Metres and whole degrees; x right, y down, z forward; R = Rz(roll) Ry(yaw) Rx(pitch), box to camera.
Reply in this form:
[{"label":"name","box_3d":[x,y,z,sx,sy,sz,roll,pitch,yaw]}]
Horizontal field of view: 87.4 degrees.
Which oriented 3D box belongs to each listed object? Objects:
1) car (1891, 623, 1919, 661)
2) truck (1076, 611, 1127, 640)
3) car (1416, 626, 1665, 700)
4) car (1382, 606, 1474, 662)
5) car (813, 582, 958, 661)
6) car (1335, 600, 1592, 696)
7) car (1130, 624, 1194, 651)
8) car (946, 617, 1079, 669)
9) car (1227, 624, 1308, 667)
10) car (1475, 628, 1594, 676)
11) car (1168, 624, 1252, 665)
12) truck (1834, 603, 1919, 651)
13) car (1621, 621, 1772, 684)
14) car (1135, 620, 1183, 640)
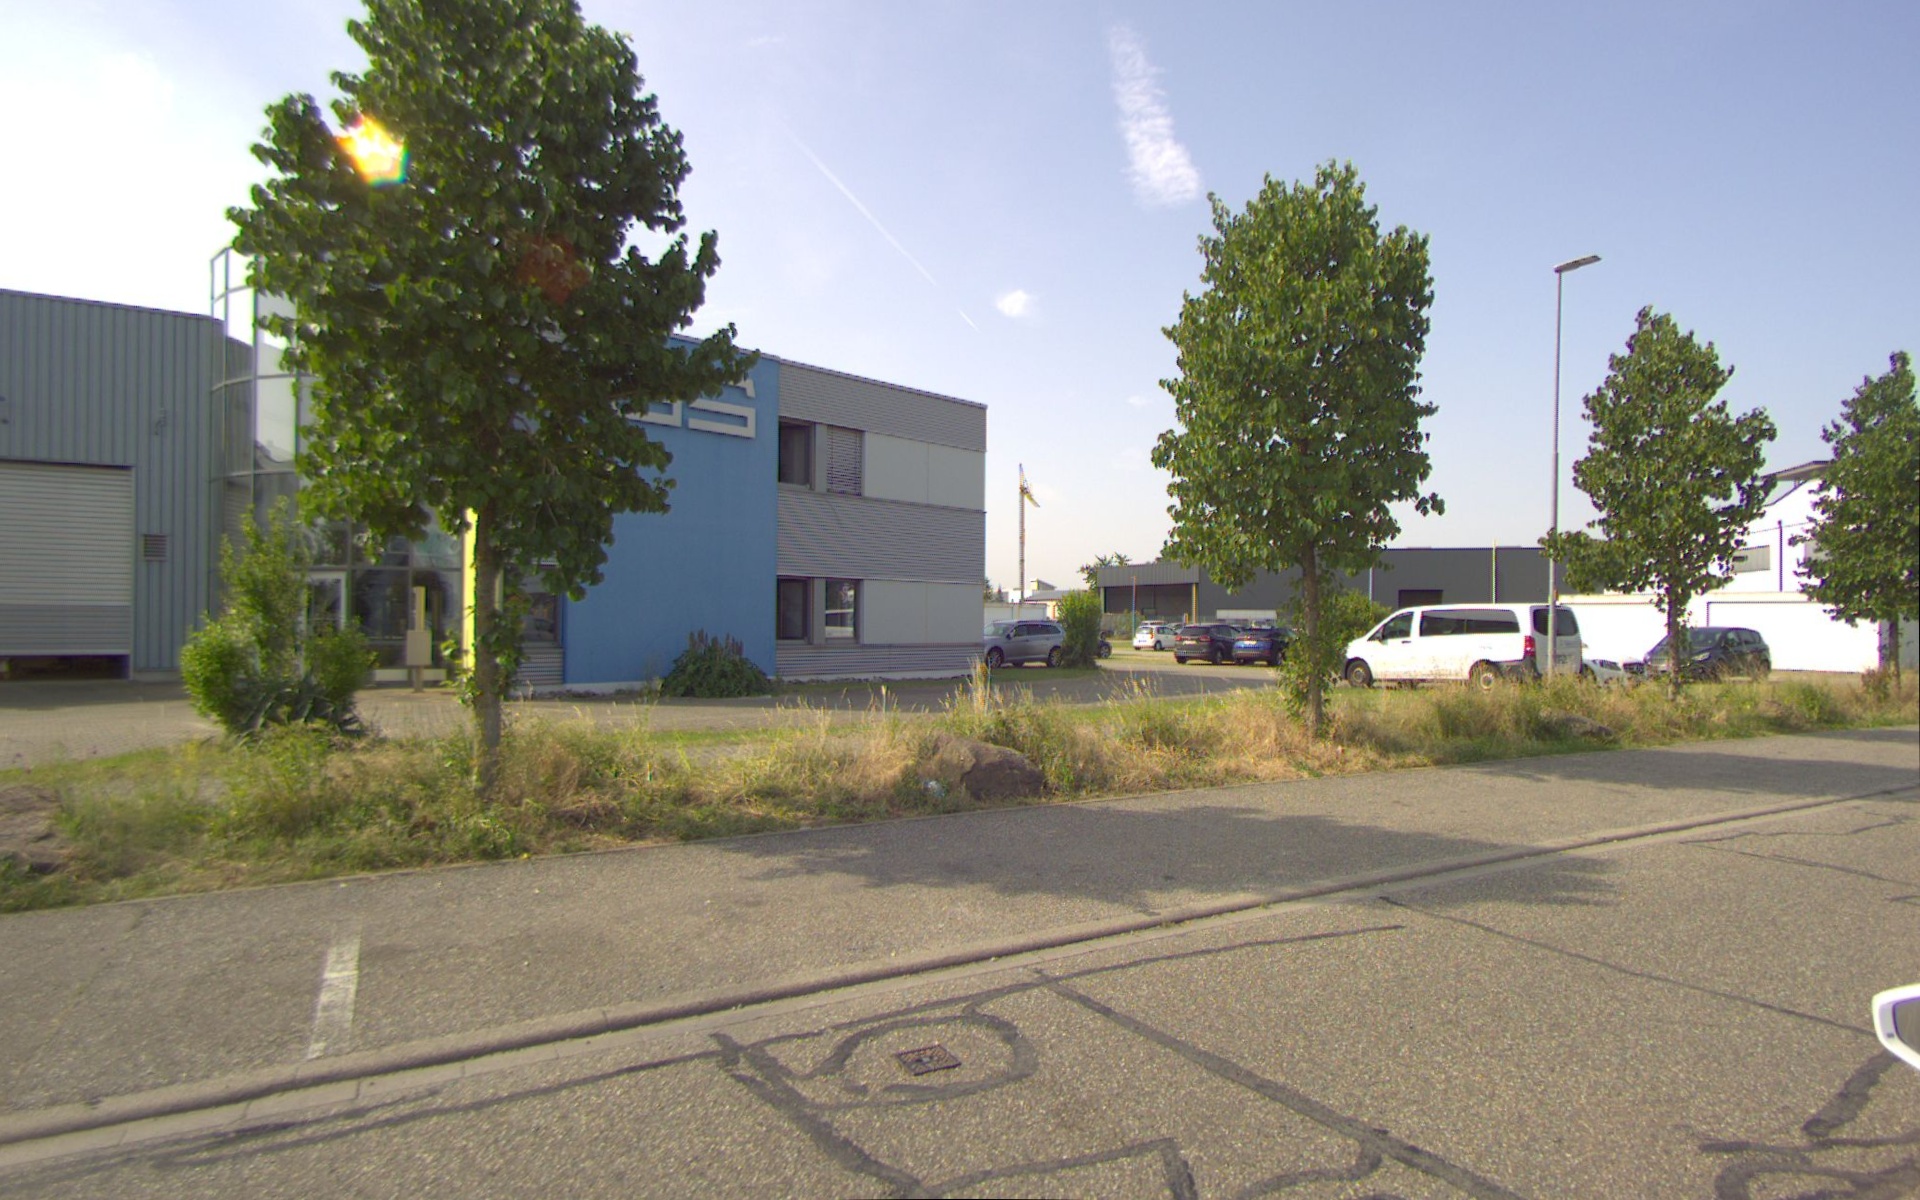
[{"label":"car","box_3d":[42.782,1.841,44.252,4.261,1.545,1.759,0,0,-35]},{"label":"truck","box_3d":[12.386,2.228,87.857,3.945,2.547,1.988,1,-1,-25]},{"label":"car","box_3d":[13.213,1.367,23.209,1.974,1.450,4.710,1,-1,-26]},{"label":"car","box_3d":[22.838,1.693,48.923,5.417,2.580,2.033,3,-2,-41]},{"label":"car","box_3d":[-2.652,0.832,37.279,1.687,2.730,5.719,0,-2,43]},{"label":"car","box_3d":[10.791,0.955,21.911,2.077,1.860,4.684,1,-1,-29]},{"label":"car","box_3d":[12.052,2.248,59.949,4.120,1.500,1.561,3,-2,-41]},{"label":"car","box_3d":[1.697,1.335,31.212,1.558,1.500,4.497,0,-2,44]},{"label":"car","box_3d":[11.670,1.711,37.947,1.818,1.505,3.989,0,-2,34]},{"label":"car","box_3d":[19.319,1.711,33.753,4.165,1.536,1.697,1,-2,-31]},{"label":"car","box_3d":[9.890,1.731,39.546,1.938,1.505,3.989,0,-2,34]},{"label":"truck","box_3d":[81.677,2.364,87.892,2.582,3.981,12.924,1,-1,16]},{"label":"car","box_3d":[21.701,1.493,29.562,4.646,1.709,1.983,1,-2,-32]},{"label":"car","box_3d":[17.944,2.717,90.394,3.947,1.792,1.860,1,-1,-26]}]
